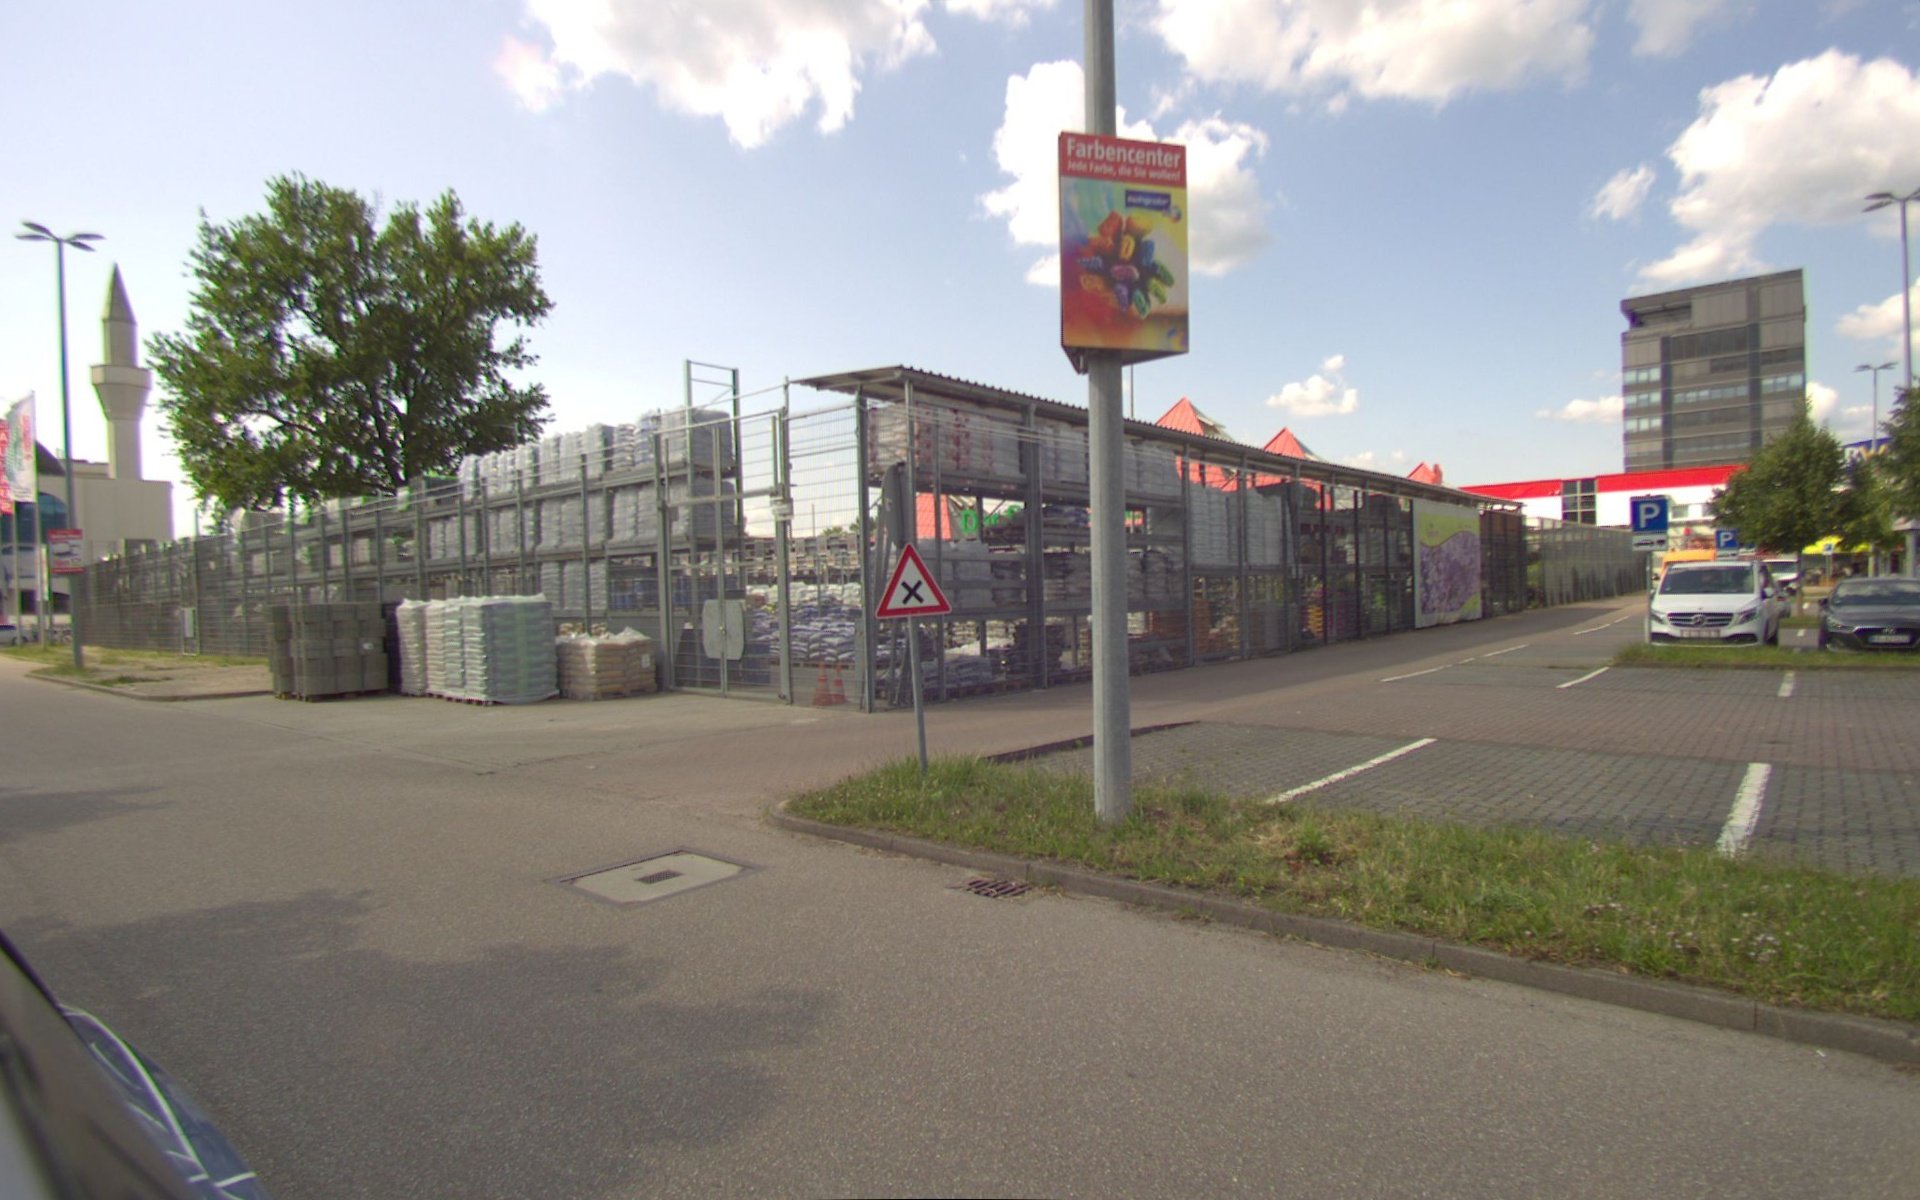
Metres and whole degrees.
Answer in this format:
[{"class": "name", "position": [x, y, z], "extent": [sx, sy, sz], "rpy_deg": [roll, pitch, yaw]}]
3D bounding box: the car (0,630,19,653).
[{"class": "car", "position": [-59.888, 2.595, 61.622], "extent": [1.651, 1.377, 3.658], "rpy_deg": [-2, -1, 43]}]

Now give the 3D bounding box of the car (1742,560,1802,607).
[{"class": "car", "position": [37.491, -0.795, 46.698], "extent": [1.999, 2.028, 4.743], "rpy_deg": [2, 2, 40]}]

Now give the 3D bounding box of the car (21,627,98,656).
[{"class": "car", "position": [-55.909, 2.547, 62.870], "extent": [1.775, 1.510, 3.438], "rpy_deg": [3, 2, 42]}]

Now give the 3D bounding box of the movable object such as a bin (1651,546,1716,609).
[{"class": "movable object such as a bin", "position": [31.301, -0.956, 43.832], "extent": [2.126, 2.512, 5.273], "rpy_deg": [-2, 0, 35]}]

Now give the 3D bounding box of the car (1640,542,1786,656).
[{"class": "car", "position": [15.434, -0.043, 20.616], "extent": [1.999, 2.029, 5.117], "rpy_deg": [-2, 0, 41]}]
